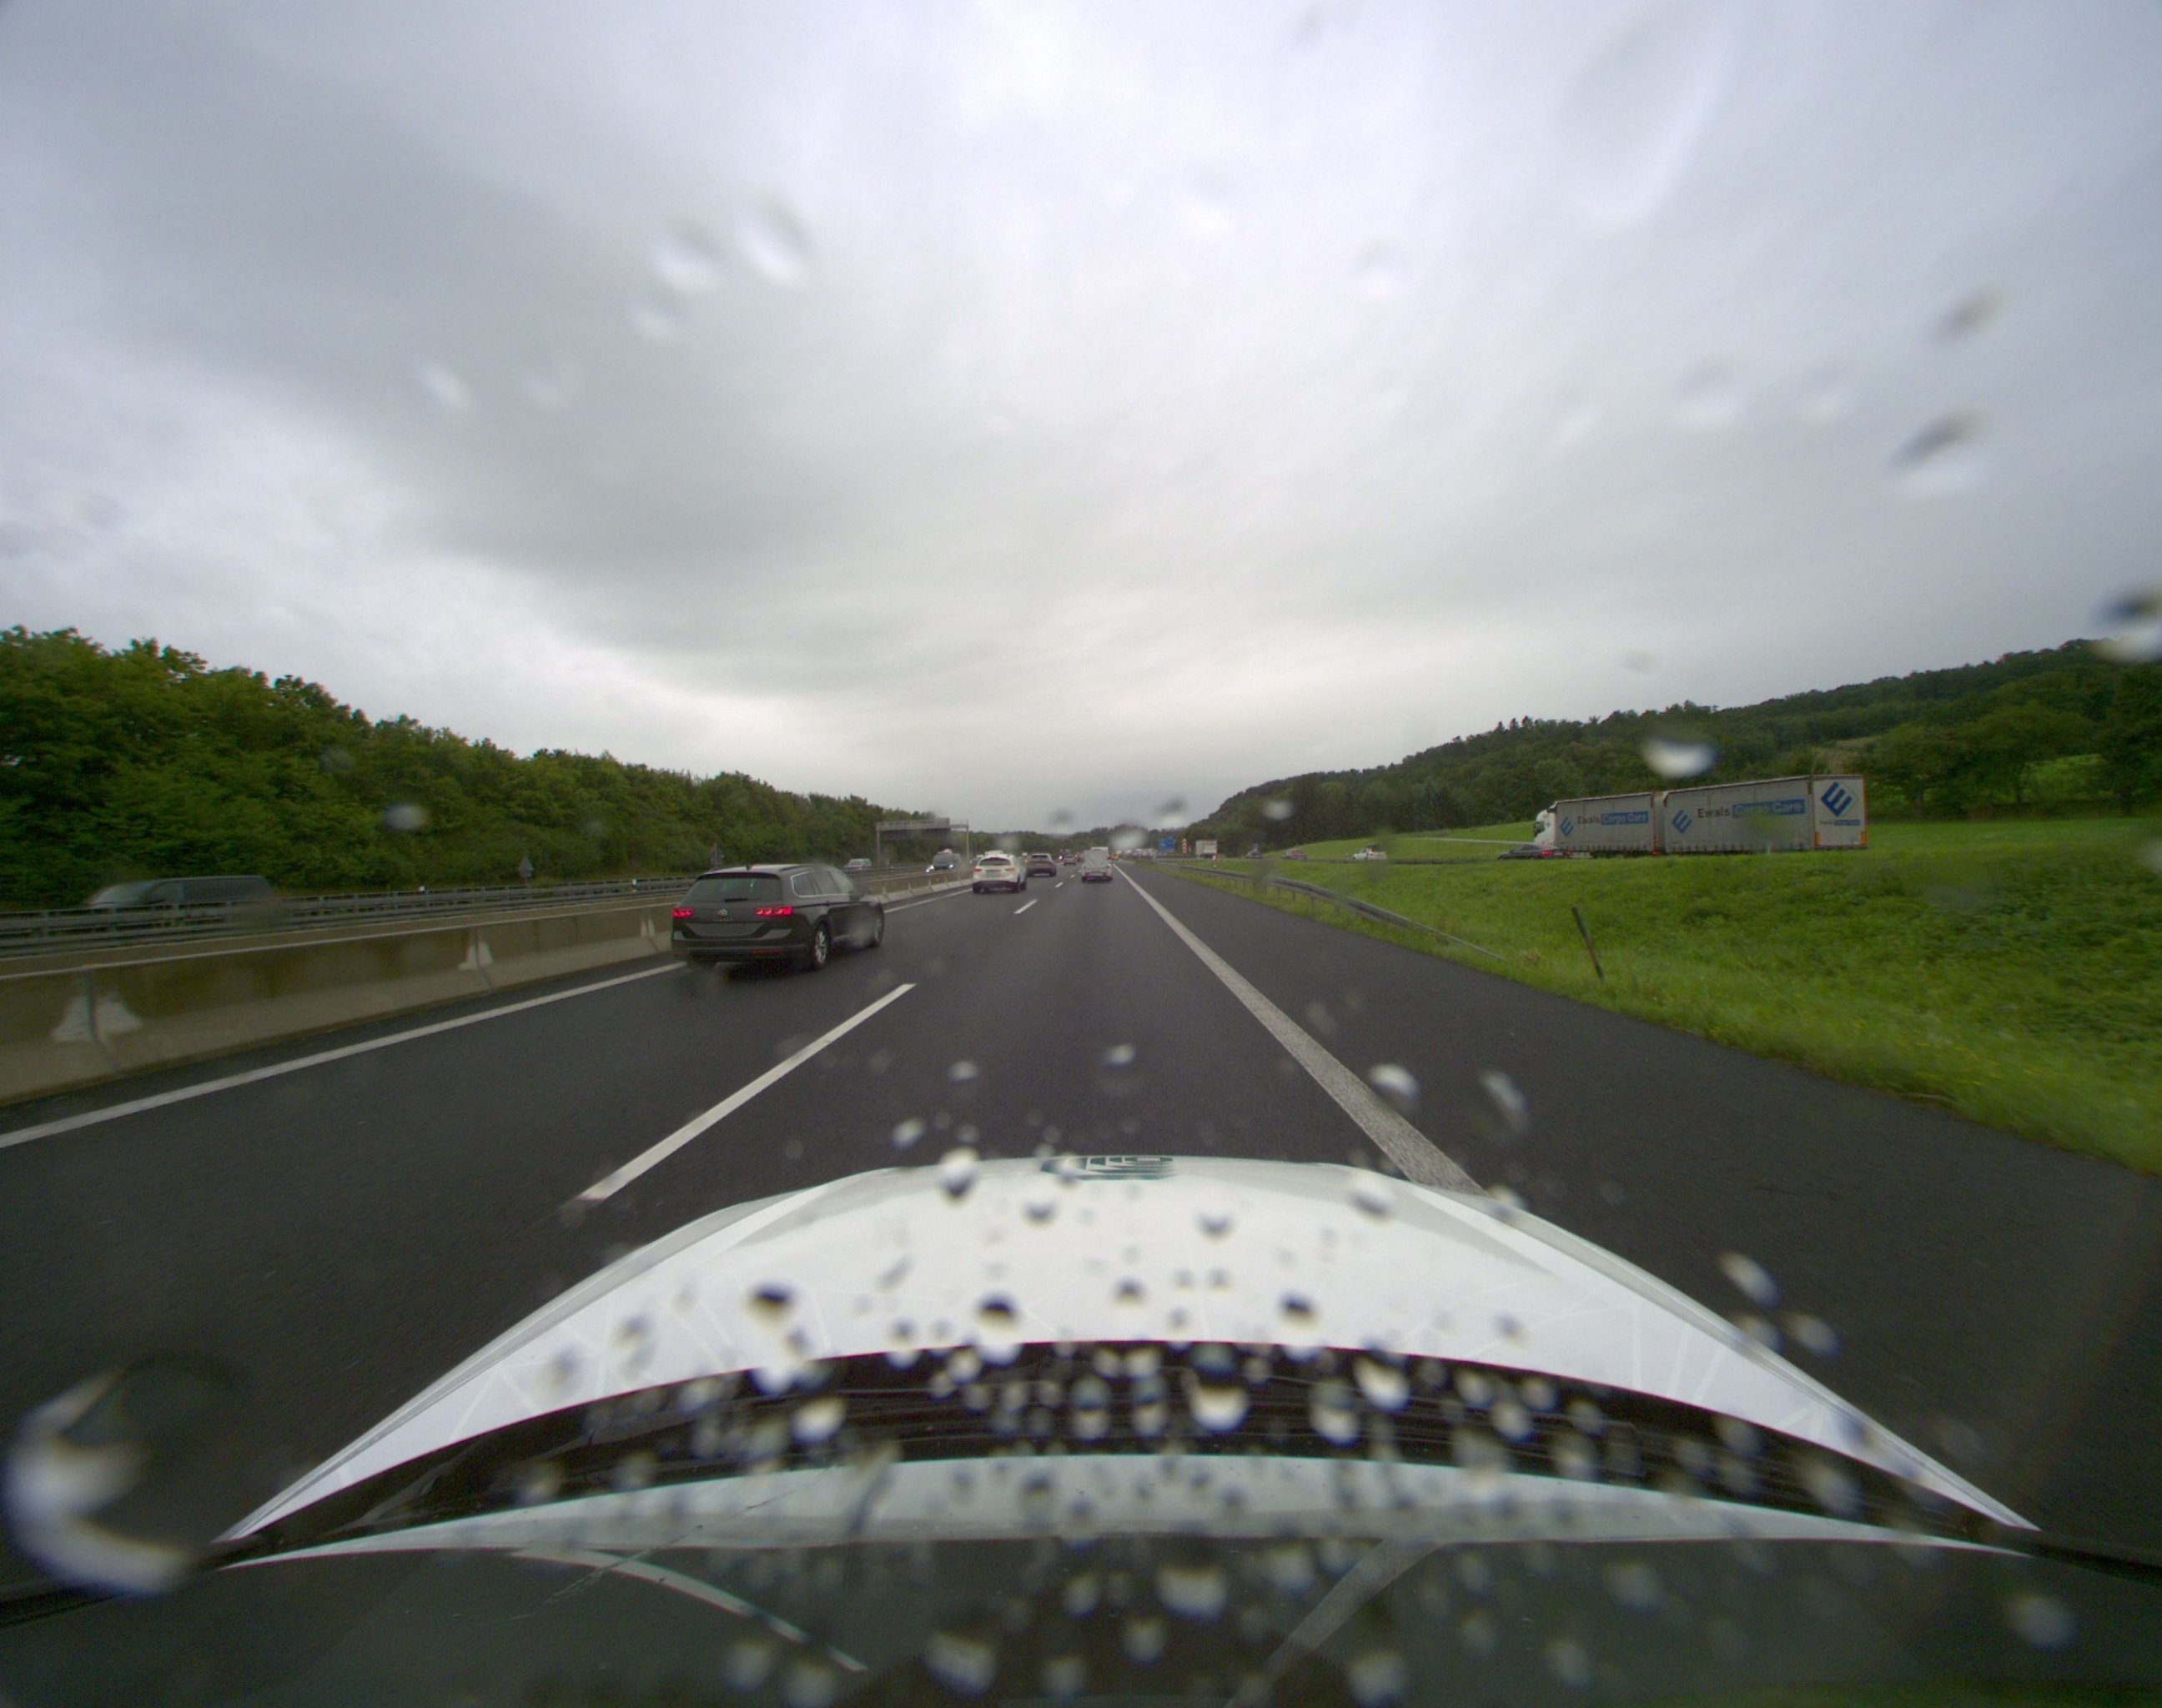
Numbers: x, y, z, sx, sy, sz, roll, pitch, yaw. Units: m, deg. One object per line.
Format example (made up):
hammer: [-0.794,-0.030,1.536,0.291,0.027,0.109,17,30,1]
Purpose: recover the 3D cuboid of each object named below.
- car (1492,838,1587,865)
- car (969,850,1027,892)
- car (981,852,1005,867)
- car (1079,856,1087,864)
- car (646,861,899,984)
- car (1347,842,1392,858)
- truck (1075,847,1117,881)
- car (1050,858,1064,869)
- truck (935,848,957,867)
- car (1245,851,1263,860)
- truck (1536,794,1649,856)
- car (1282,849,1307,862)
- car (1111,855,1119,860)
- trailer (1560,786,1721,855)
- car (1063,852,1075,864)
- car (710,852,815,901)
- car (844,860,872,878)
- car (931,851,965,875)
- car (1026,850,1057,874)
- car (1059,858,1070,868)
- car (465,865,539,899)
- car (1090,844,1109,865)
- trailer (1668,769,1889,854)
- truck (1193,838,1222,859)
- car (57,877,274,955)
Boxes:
car: [25.117,-0.110,44.862,1.982,1.377,5.312,-1,0,-3]
car: [-3.547,0.700,35.567,2.042,1.670,4.540,-1,0,0]
car: [-10.864,0.653,101.222,2.350,1.693,5.905,-2,0,0]
car: [0.457,1.216,167.664,1.639,1.574,4.002,0,0,2]
car: [-4.348,0.862,12.431,1.780,1.459,4.806,-1,0,3]
car: [26.892,-0.306,76.082,1.984,1.377,5.067,-2,0,-6]
truck: [0.876,0.555,47.818,2.234,1.839,6.585,-1,0,1]
car: [-3.816,1.502,129.216,1.812,1.662,4.019,-2,0,2]
truck: [-27.602,0.735,167.167,2.676,3.661,9.559,-2,0,1]
car: [24.544,0.230,115.844,1.692,1.288,3.532,0,-1,-2]
truck: [31.288,-1.683,50.159,2.933,3.527,5.916,0,0,-5]
car: [22.200,0.150,84.787,1.536,1.288,3.529,0,-1,-4]
car: [9.786,1.008,235.151,1.989,1.552,3.995,0,0,-4]
trailer: [31.623,-1.754,46.606,2.933,3.527,8.404,0,0,-5]
car: [-1.797,0.574,126.310,1.732,1.794,4.001,-1,0,1]
car: [-12.731,0.844,32.931,2.148,1.765,4.962,-1,0,2]
car: [-26.189,1.776,95.835,1.987,2.014,4.715,-1,0,0]
car: [-10.707,0.710,65.874,1.987,1.836,4.679,0,0,0]
car: [-2.914,0.590,60.838,1.969,1.703,4.803,-1,0,1]
car: [-2.882,1.591,143.601,1.812,1.662,4.019,-2,0,2]
car: [-37.412,1.758,52.748,1.742,2.013,4.002,-2,0,2]
car: [2.485,0.089,111.815,2.325,2.725,6.536,-1,0,-1]
trailer: [32.367,-1.796,38.393,3.073,3.527,8.070,0,0,-5]
truck: [23.014,-0.921,148.436,3.815,3.659,8.265,0,0,-2]
car: [-27.826,1.808,24.993,1.668,2.013,4.280,-2,0,2]
